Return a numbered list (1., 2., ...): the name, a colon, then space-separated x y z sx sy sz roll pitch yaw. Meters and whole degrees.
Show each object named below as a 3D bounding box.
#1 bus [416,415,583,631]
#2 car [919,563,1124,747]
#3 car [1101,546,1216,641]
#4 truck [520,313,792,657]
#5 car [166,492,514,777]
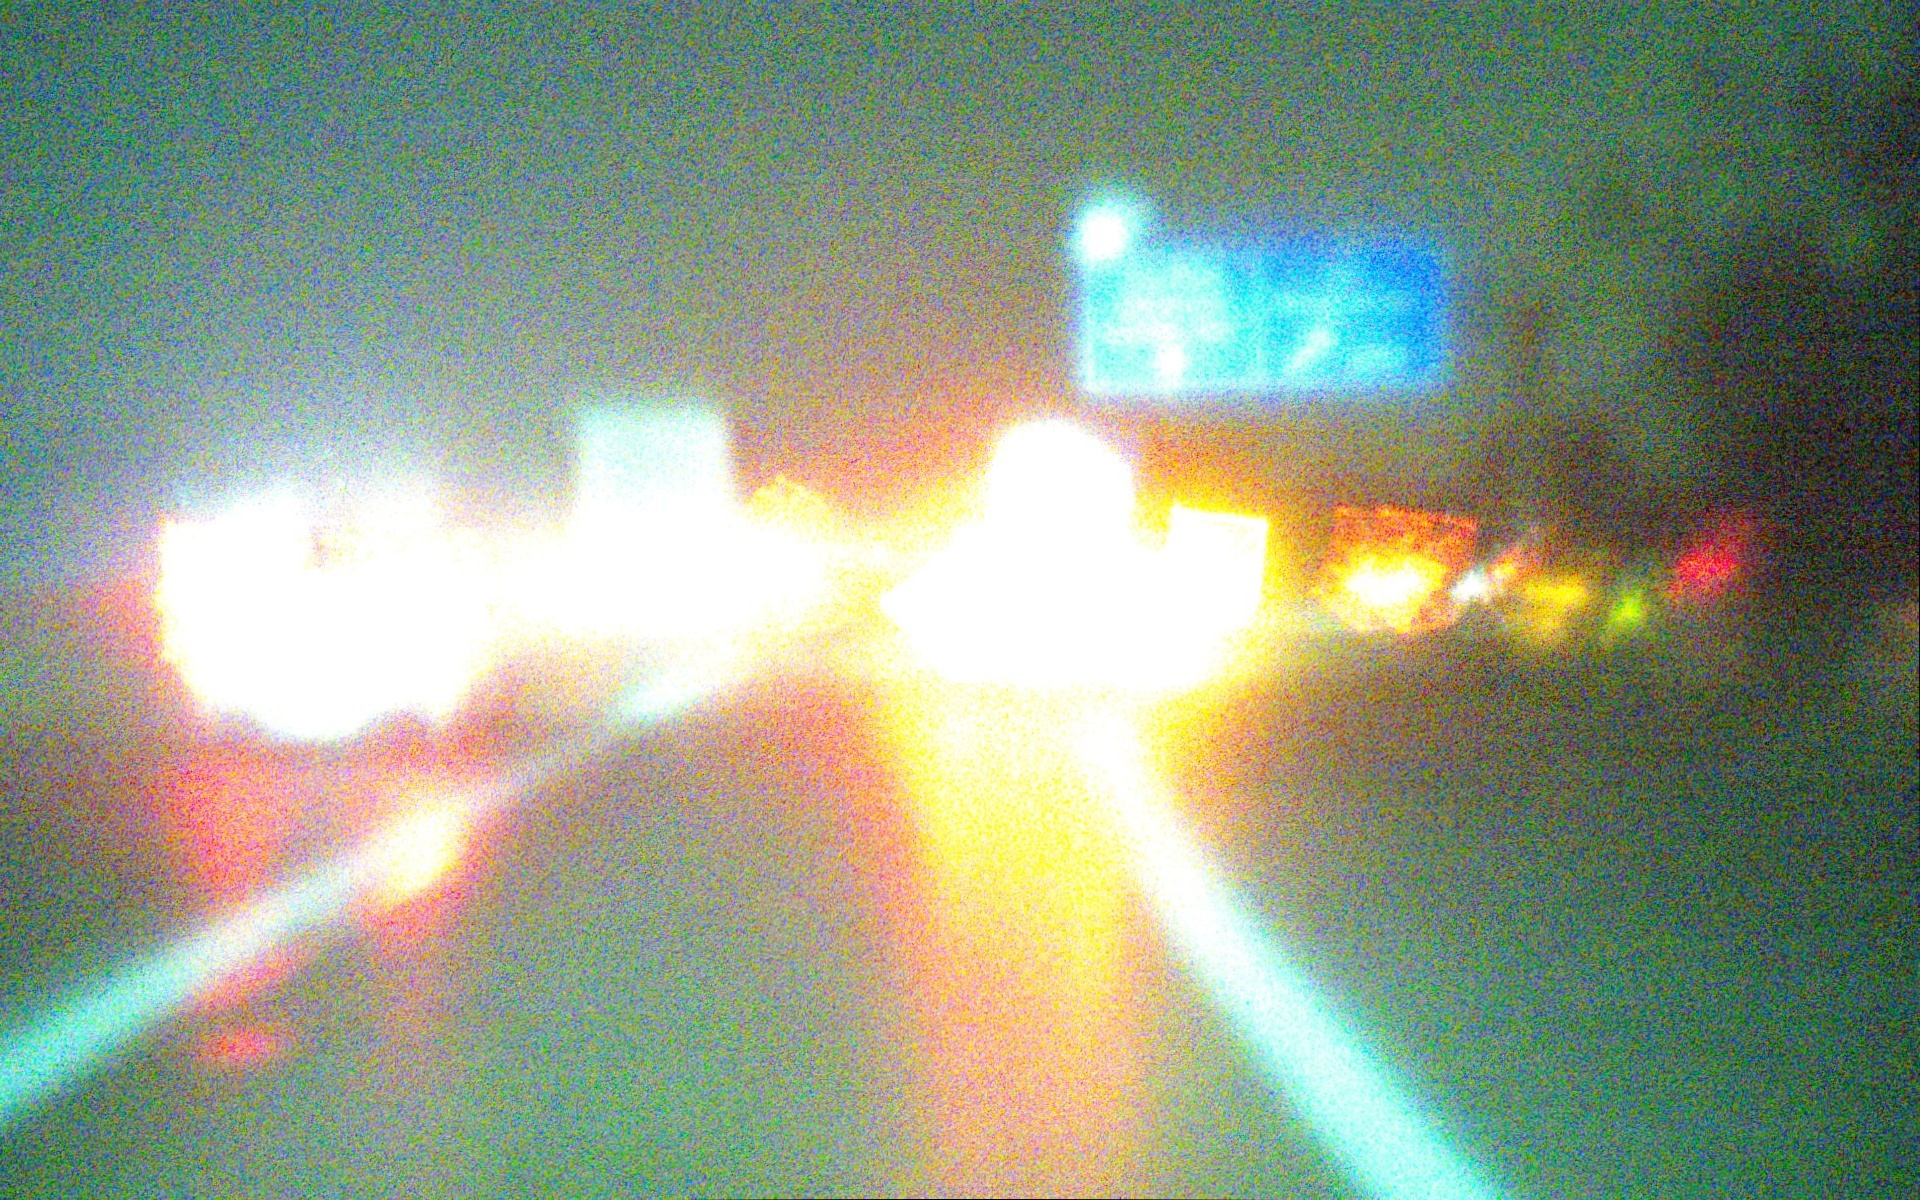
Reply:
1. bus: -10.304 -1.681 77.911 3.096 4.492 10.915 1 1 -5
2. car: 0.593 0.528 36.437 1.993 1.801 4.000 1 1 -1
3. car: 3.904 -0.144 68.140 1.993 1.801 4.000 1 1 0
4. truck: -5.317 -1.969 62.727 4.210 5.629 11.468 1 1 -2
5. car: -4.744 0.220 26.964 2.125 2.007 4.646 1 1 -3
